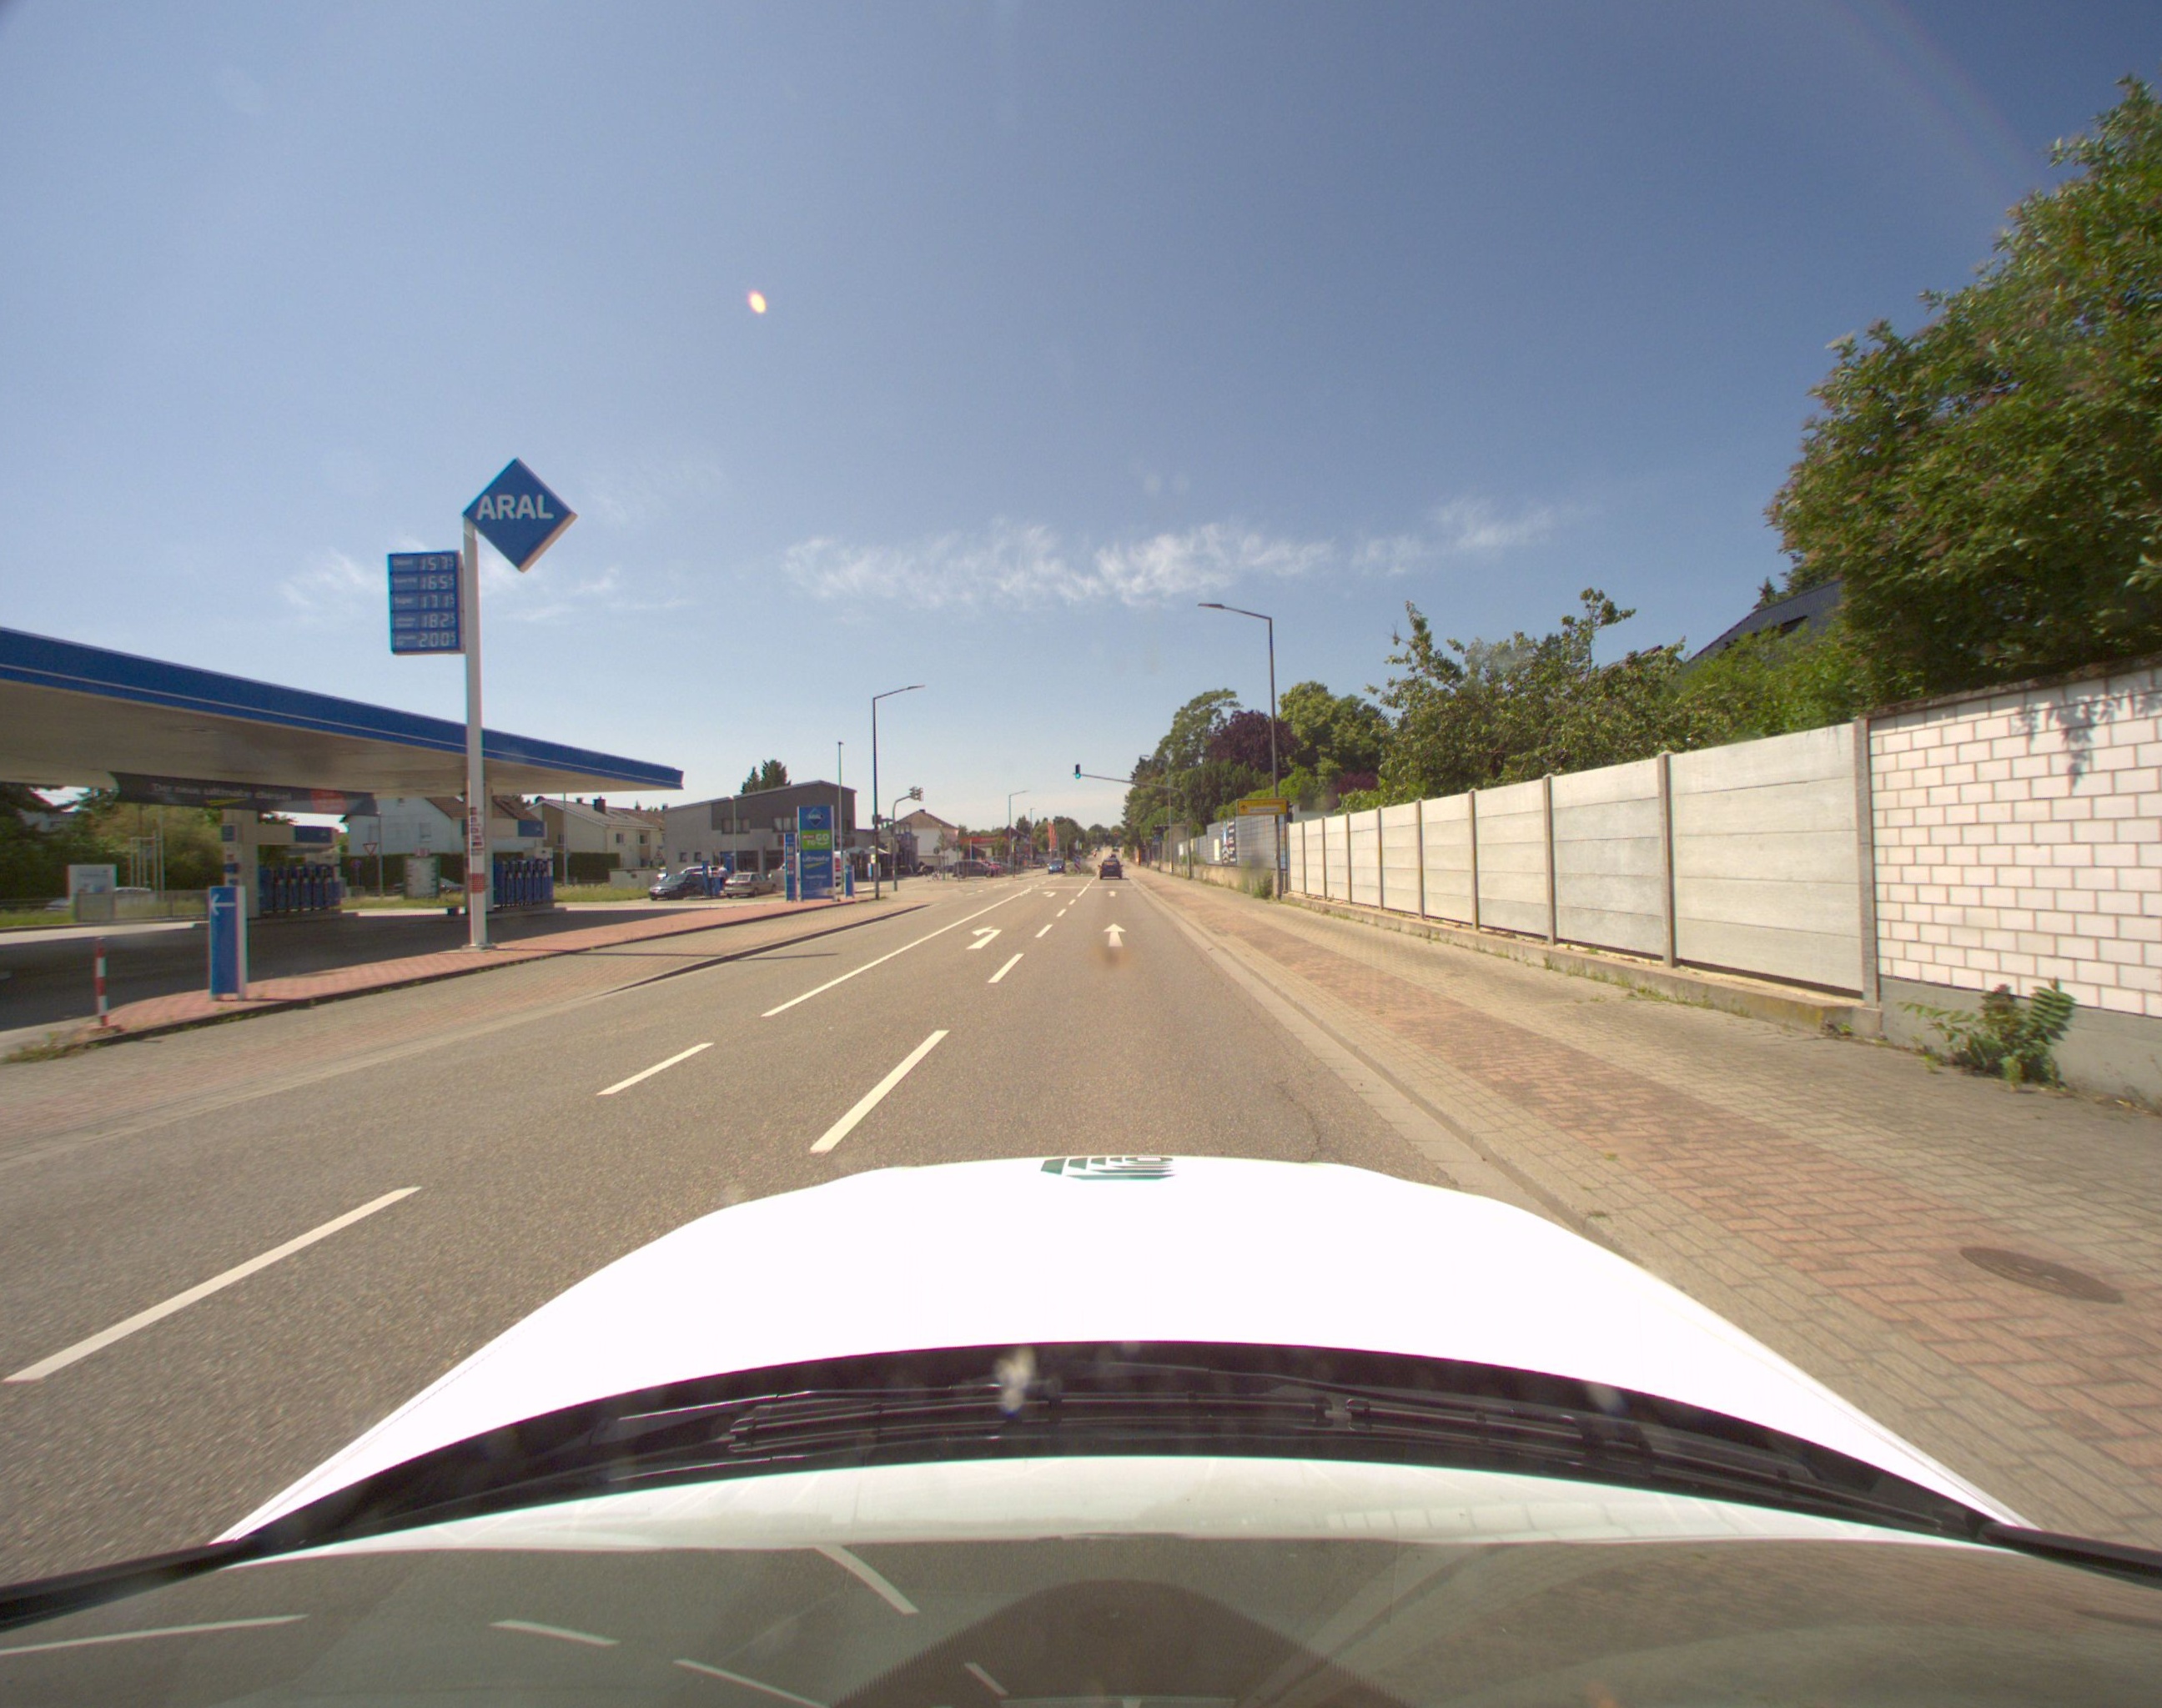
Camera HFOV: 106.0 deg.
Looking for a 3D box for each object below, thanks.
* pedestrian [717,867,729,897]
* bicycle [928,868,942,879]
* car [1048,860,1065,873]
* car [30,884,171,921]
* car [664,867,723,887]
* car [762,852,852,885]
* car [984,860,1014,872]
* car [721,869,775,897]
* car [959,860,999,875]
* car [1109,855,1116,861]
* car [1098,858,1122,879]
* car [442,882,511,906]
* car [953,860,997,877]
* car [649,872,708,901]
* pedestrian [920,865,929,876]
[{"bbox_3d":[-21.122,1.638,48.007,0.613,1.691,0.703,-1,-1,-24],"label":"pedestrian"},{"bbox_3d":[-12.172,1.627,68.178,0.610,0.793,2.576,-1,0,2],"label":"bicycle"},{"bbox_3d":[-2.641,1.367,89.006,1.581,1.393,3.473,-1,0,2],"label":"car"},{"bbox_3d":[-46.285,2.264,38.571,1.662,1.480,4.004,-1,0,4],"label":"car"},{"bbox_3d":[-31.821,1.851,66.942,3.976,1.508,1.553,-1,0,-2],"label":"car"},{"bbox_3d":[-20.139,1.075,60.148,5.914,2.423,1.997,0,-2,-3],"label":"car"},{"bbox_3d":[-11.286,1.664,112.459,3.976,1.508,1.553,-1,0,-2],"label":"car"},{"bbox_3d":[-19.084,1.613,46.836,1.613,1.420,3.708,-3,0,-3],"label":"car"},{"bbox_3d":[-10.603,1.398,84.830,3.976,1.508,1.553,-1,0,-2],"label":"car"},{"bbox_3d":[7.760,0.996,201.469,1.659,1.455,3.473,-1,0,2],"label":"car"},{"bbox_3d":[2.152,1.038,60.116,1.659,1.455,3.473,-1,0,2],"label":"car"},{"bbox_3d":[-42.887,2.818,57.882,1.662,1.480,4.004,-1,0,4],"label":"car"},{"bbox_3d":[-10.047,1.363,77.228,3.976,1.508,1.553,-1,0,-2],"label":"car"},{"bbox_3d":[-22.845,1.806,46.366,1.613,1.420,3.708,-3,0,-3],"label":"car"},{"bbox_3d":[-17.530,1.828,91.055,0.606,1.261,0.760,-2,-1,28],"label":"pedestrian"}]
